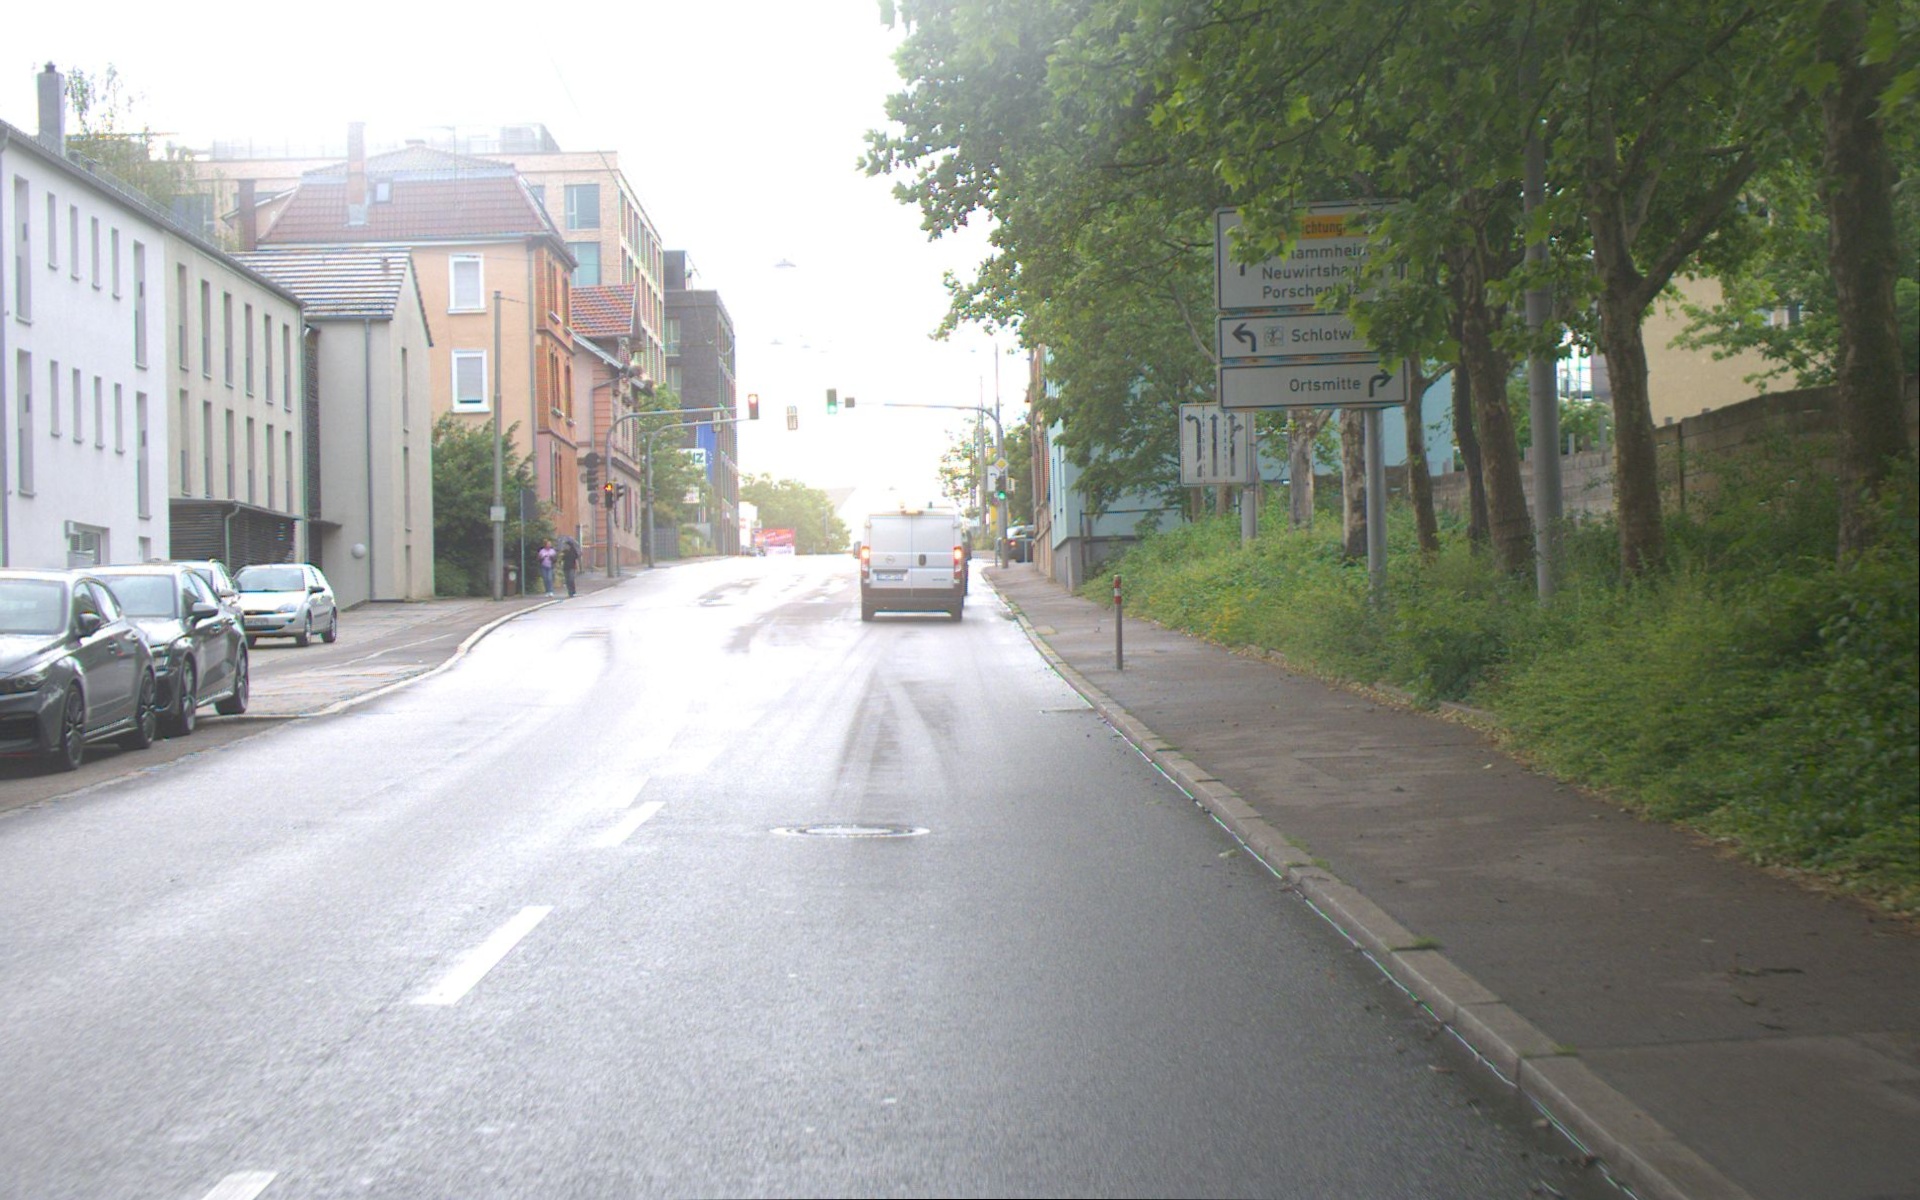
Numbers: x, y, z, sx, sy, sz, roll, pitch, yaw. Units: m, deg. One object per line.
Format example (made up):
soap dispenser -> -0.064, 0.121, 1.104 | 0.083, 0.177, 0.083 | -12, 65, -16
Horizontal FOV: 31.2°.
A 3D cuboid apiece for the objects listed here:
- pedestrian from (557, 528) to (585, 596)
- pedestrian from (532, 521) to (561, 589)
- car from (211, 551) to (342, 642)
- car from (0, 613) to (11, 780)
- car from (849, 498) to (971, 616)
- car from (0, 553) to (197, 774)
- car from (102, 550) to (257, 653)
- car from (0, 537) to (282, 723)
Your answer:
pedestrian -> -11.601, -1.140, 102.564 | 0.671, 2.007, 0.941 | 0, 1, 4
pedestrian -> -12.337, -1.340, 102.603 | 0.671, 2.007, 0.941 | 0, 1, 4
car -> -12.250, -0.089, 61.788 | 1.667, 1.525, 4.096 | -1, 1, -2
car -> -6.675, 0.427, 18.930 | 1.691, 1.537, 4.118 | -3, 2, 0
car -> -0.992, -0.833, 69.600 | 2.336, 2.223, 4.000 | -2, -1, 0
car -> -6.978, 0.403, 25.351 | 1.743, 1.477, 4.386 | 0, 1, 0
car -> -12.394, -0.006, 54.824 | 1.667, 1.525, 4.096 | -1, 1, -2
car -> -7.169, 0.225, 30.061 | 1.635, 1.477, 4.359 | 1, 0, 0
